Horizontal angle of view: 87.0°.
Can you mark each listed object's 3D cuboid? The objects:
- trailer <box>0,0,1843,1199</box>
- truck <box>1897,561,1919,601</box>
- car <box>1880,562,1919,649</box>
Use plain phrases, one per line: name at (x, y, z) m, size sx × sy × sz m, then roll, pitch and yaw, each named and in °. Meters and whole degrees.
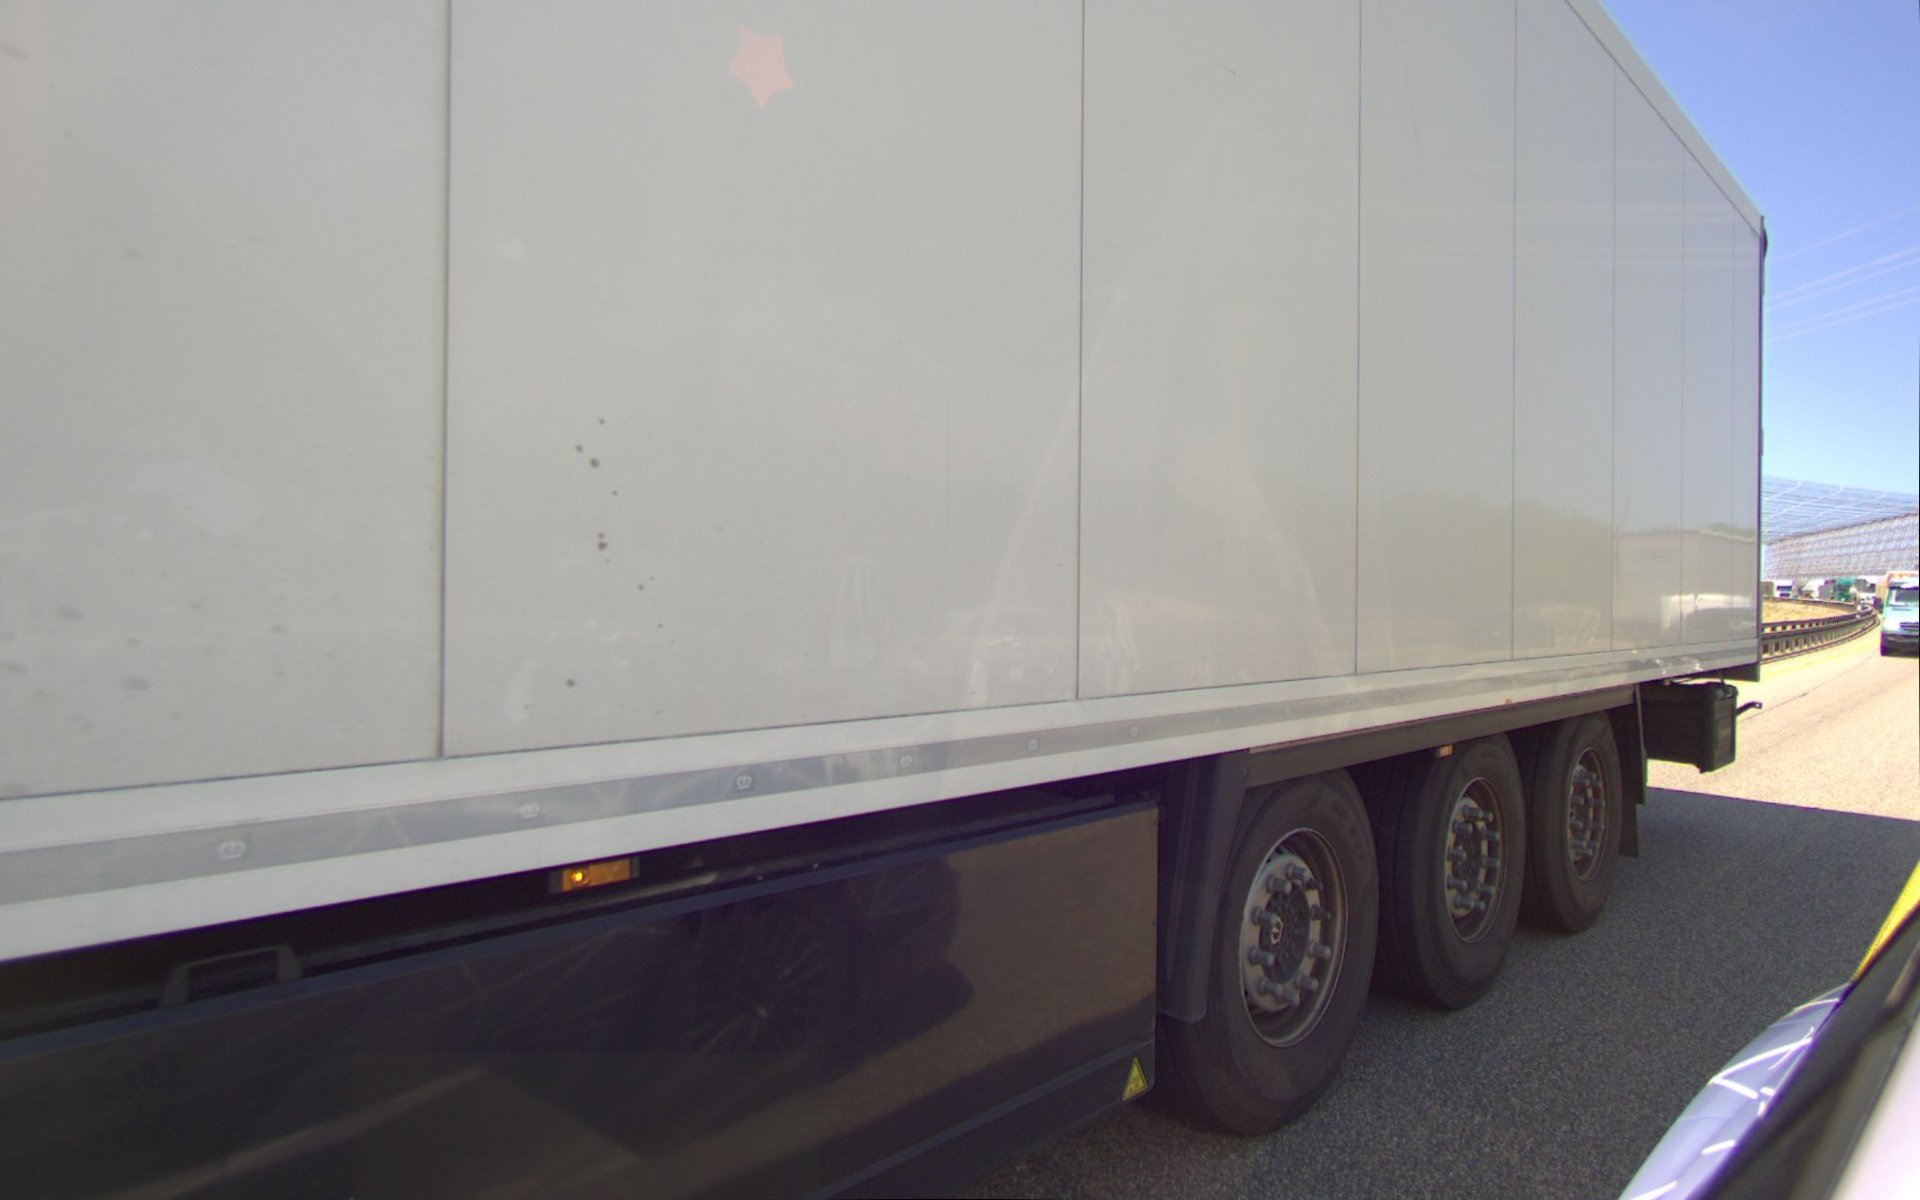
trailer at (1.284, -0.618, 4.480) m, size 11.348 × 4.179 × 2.535 m, roll 0°, pitch 0°, yaw -42°
truck at (87.498, -1.697, 92.471) m, size 2.462 × 3.528 × 9.719 m, roll 0°, pitch 0°, yaw 42°
car at (28.923, 0.134, 29.629) m, size 6.782 × 2.355 × 2.215 m, roll 0°, pitch 1°, yaw -42°
